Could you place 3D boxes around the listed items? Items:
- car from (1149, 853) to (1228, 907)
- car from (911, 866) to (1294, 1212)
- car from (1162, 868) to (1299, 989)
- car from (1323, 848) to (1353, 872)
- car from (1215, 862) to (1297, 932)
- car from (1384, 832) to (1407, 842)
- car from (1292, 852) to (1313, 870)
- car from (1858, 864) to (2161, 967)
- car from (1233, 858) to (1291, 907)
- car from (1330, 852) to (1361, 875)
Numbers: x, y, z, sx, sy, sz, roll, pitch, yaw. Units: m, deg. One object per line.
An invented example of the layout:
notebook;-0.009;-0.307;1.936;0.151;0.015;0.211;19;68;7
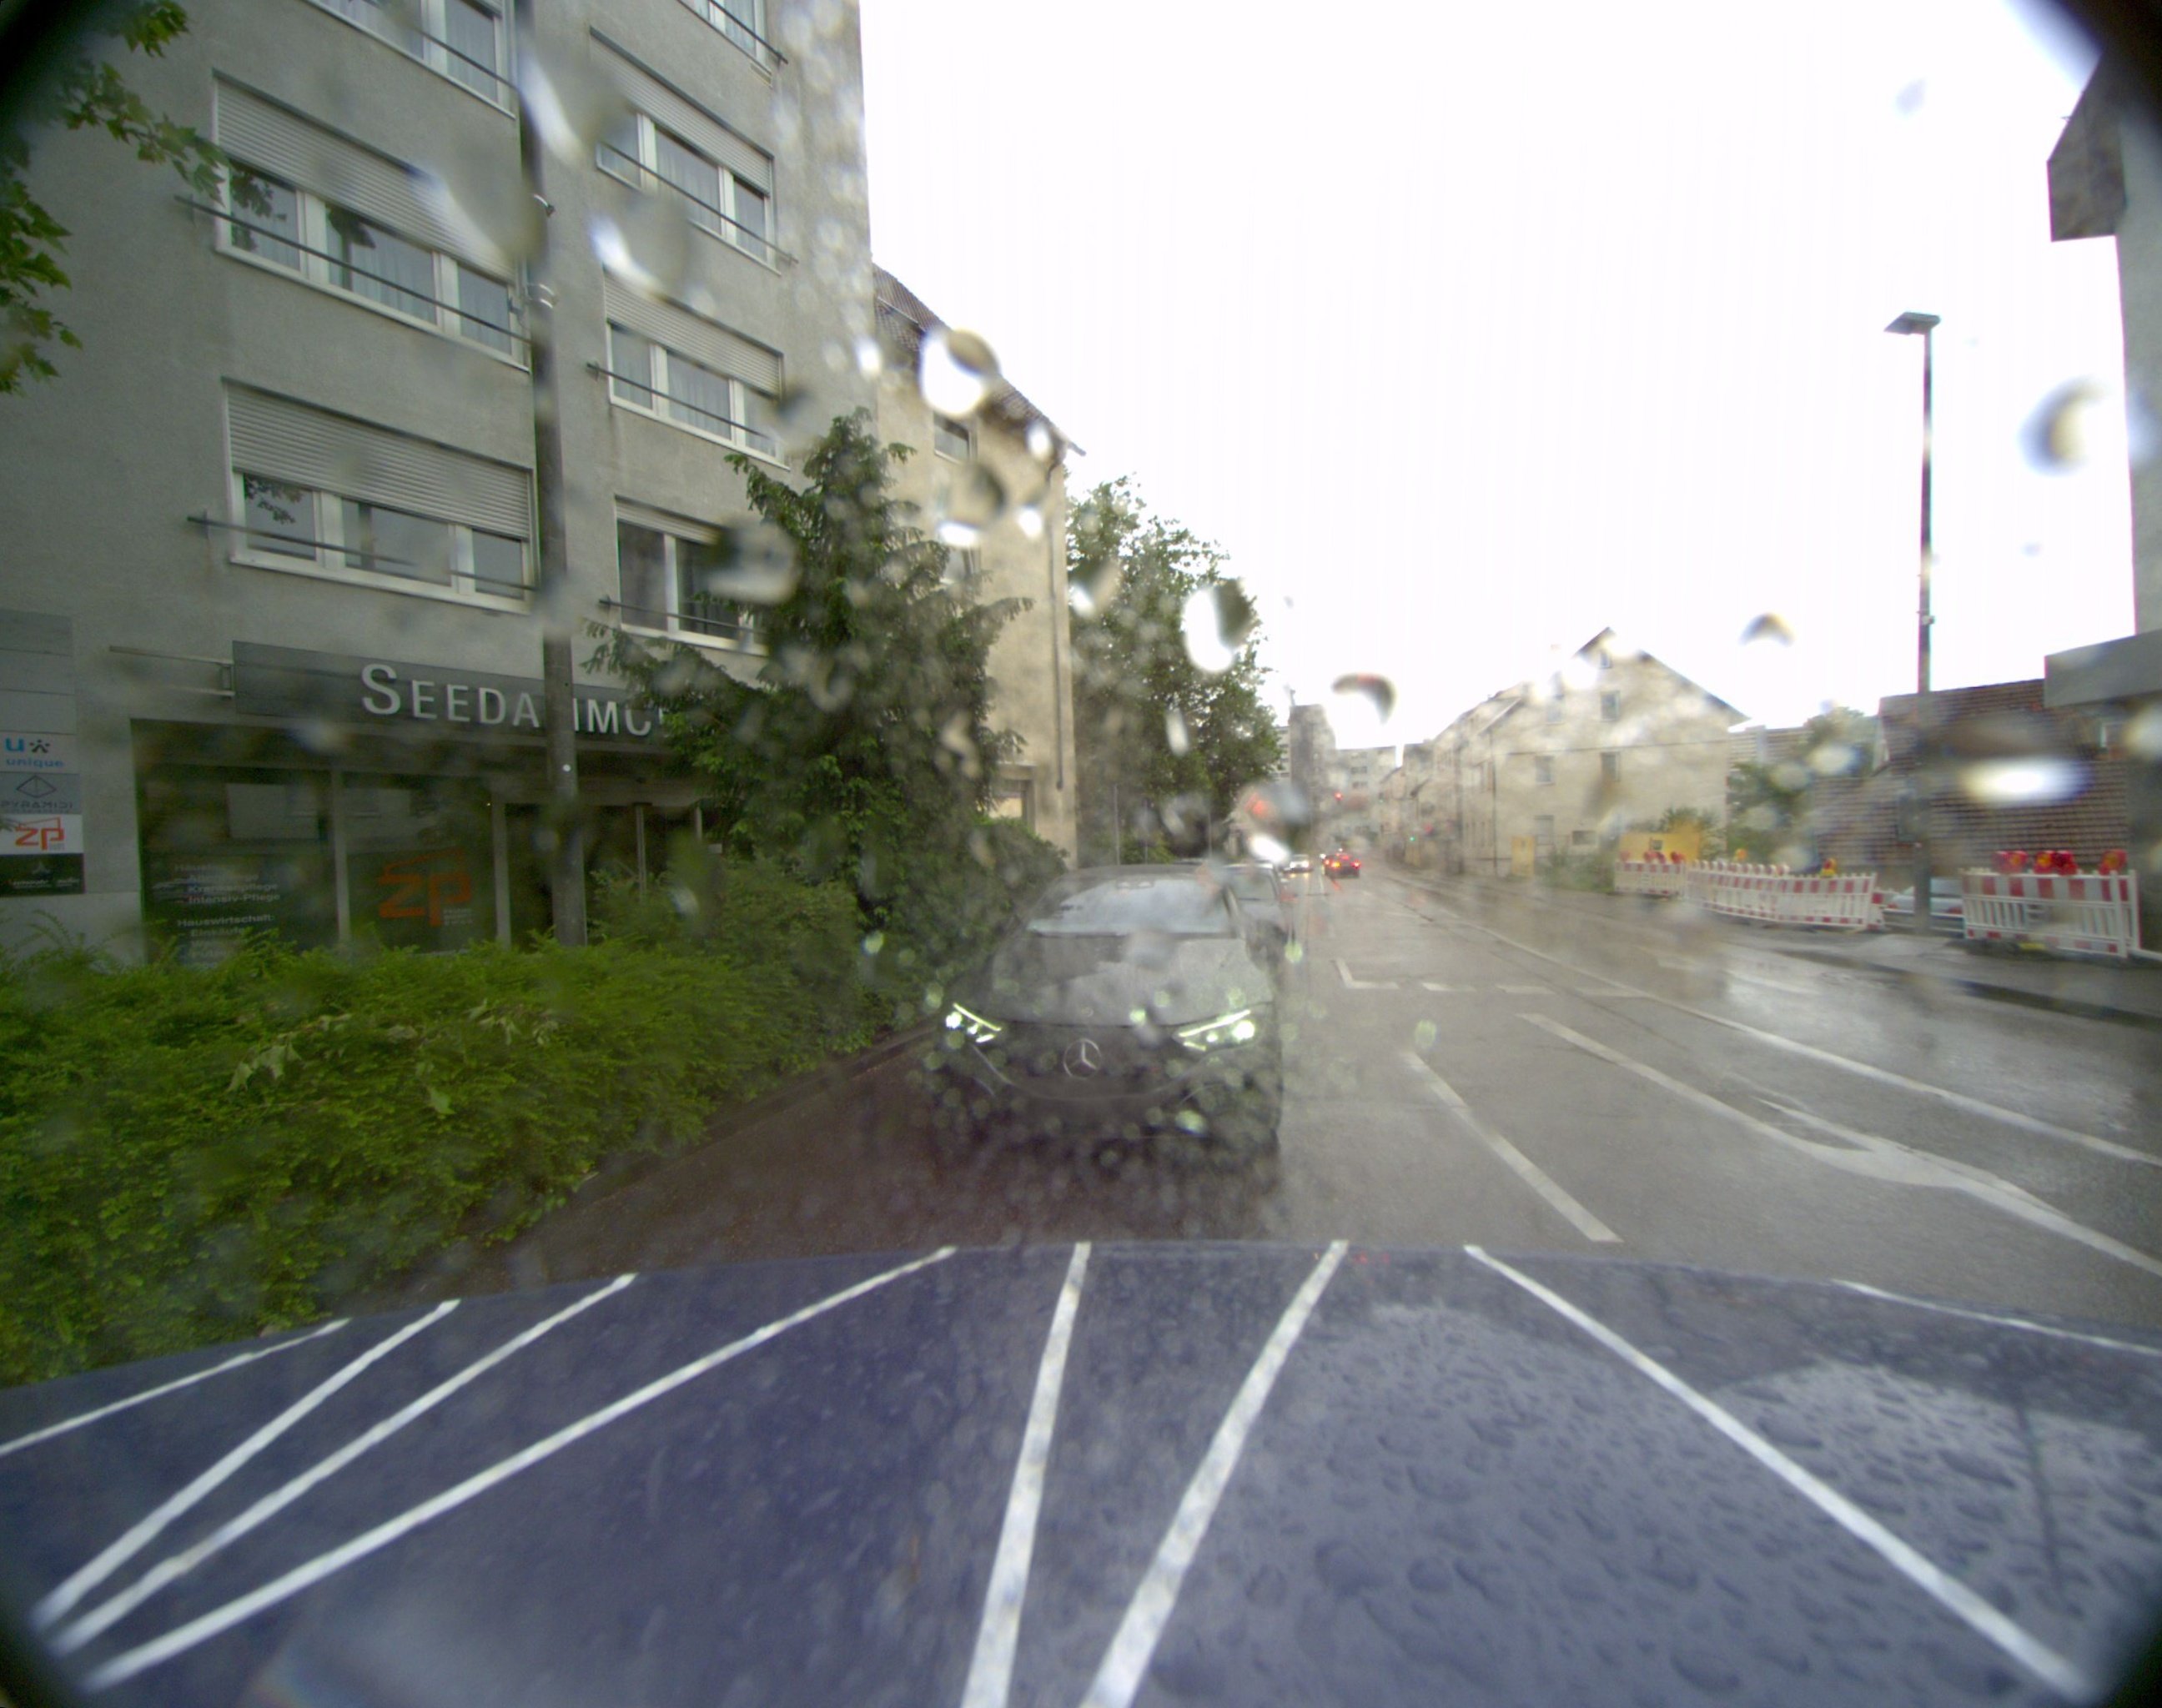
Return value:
car;4.041;0.882;27.802;1.933;1.770;4.740;-1;0;20
car;0.486;0.924;5.782;1.819;1.562;4.280;-2;-1;11
car;2.389;0.959;11.419;1.639;1.424;3.810;-1;0;17
car;18.848;0.462;55.919;1.818;1.635;4.281;-2;-1;16
car;4.265;0.955;18.322;1.685;1.413;4.004;-2;0;14
car;51.909;-2.844;125.312;3.842;1.555;1.736;-2;0;-37
car;19.378;0.609;66.356;1.613;1.495;3.722;-3;0;17
car;16.486;1.046;13.422;3.505;1.382;1.653;6;-1;8
car;6.255;0.913;25.980;1.684;1.452;4.005;-2;0;16
car;17.236;0.605;49.640;1.709;1.375;3.674;-2;0;16
